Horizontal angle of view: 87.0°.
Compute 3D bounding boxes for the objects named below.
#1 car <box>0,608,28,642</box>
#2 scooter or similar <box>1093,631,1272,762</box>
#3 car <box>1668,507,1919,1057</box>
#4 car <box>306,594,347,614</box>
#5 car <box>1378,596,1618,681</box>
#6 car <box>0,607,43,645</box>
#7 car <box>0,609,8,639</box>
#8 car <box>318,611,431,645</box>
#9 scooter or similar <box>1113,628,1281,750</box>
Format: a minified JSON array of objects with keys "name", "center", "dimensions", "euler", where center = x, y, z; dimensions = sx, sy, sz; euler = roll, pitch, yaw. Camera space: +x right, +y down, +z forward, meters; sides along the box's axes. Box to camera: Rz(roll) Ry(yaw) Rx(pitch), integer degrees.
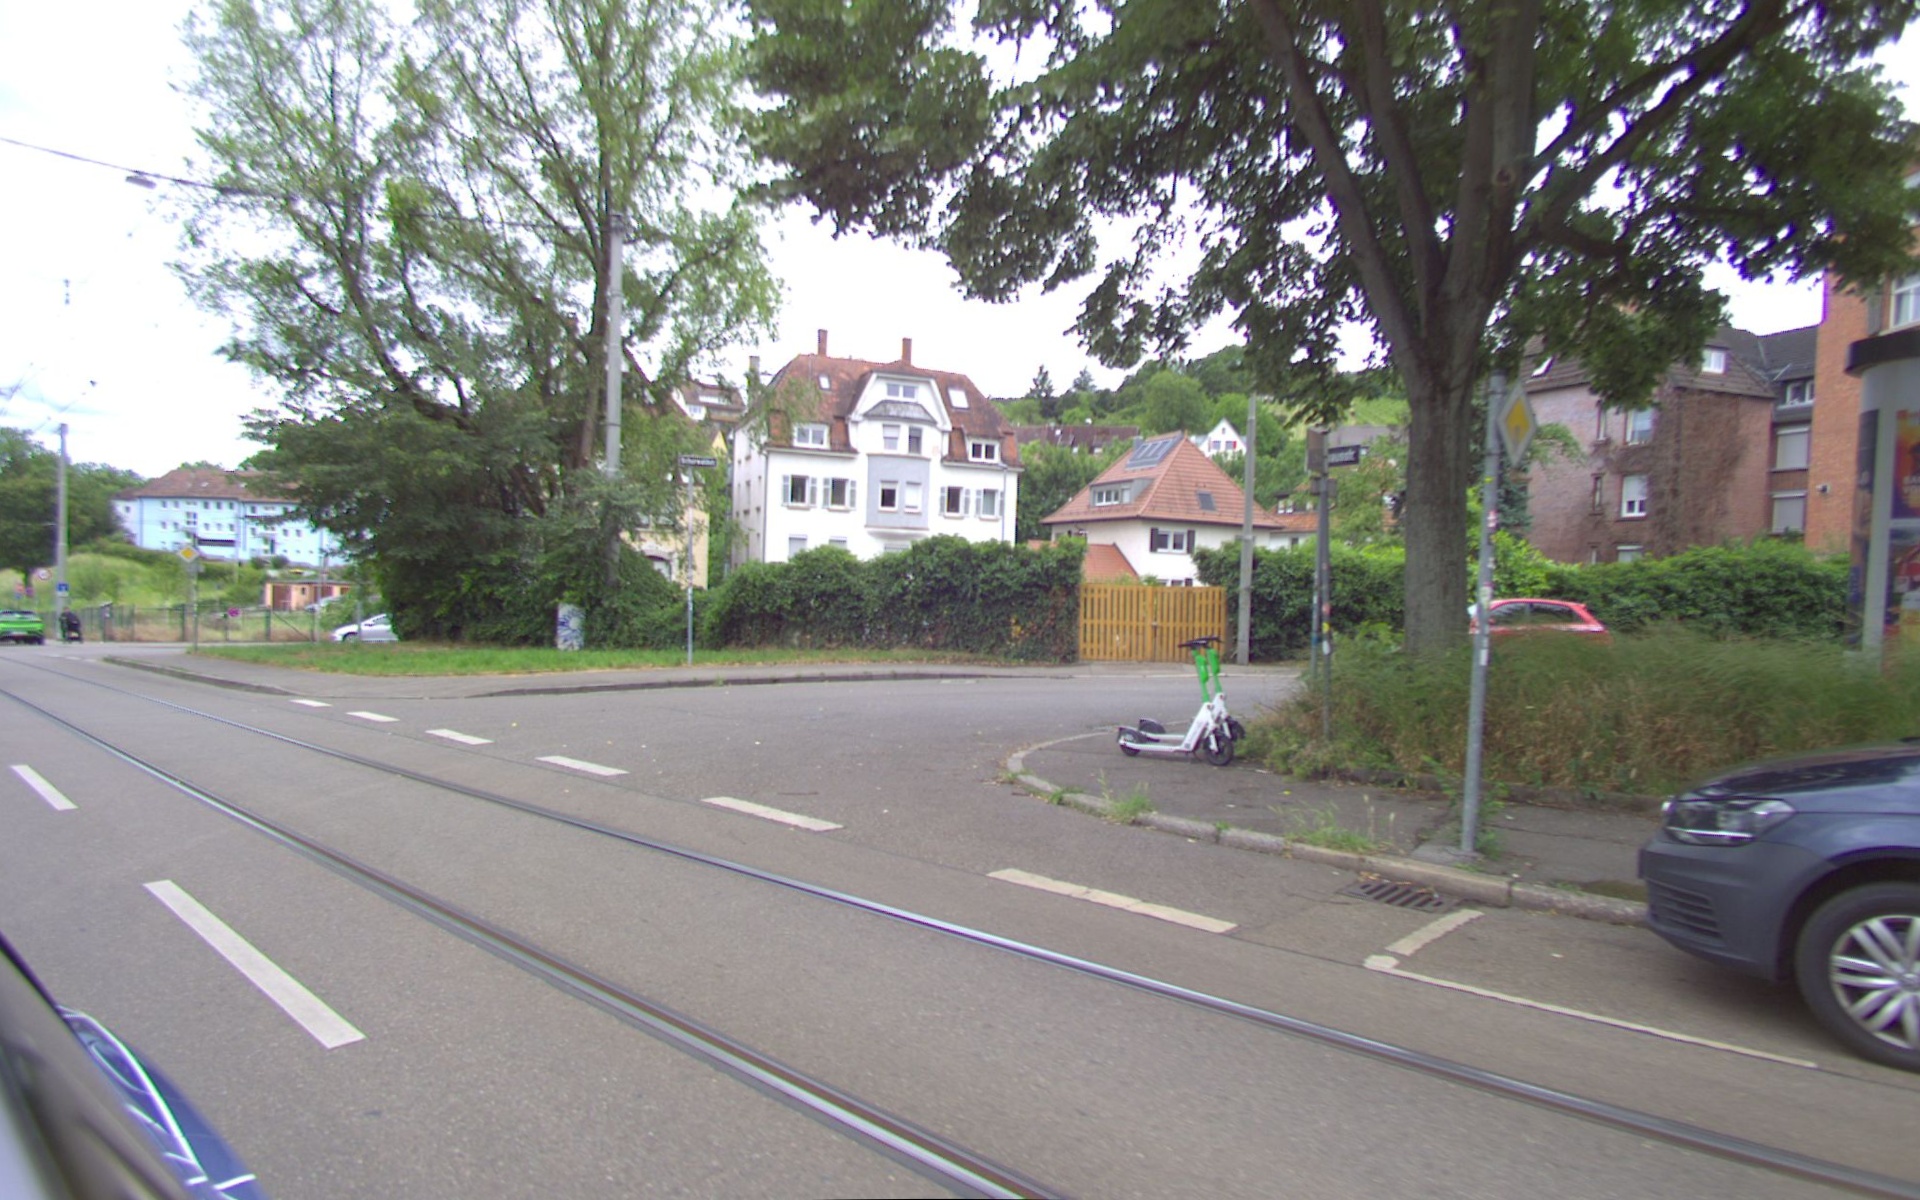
[{"name":"car","center":[-44.980,1.134,47.185],"dimensions":[3.947,1.505,1.831],"euler":[-1,-3,42]},{"name":"scooter or similar","center":[2.091,0.890,9.696],"dimensions":[1.717,1.154,0.308],"euler":[-3,-2,42]},{"name":"car","center":[4.932,0.626,2.821],"dimensions":[4.668,1.789,1.743],"euler":[-1,-4,43]},{"name":"car","center":[-61.263,0.377,97.907],"dimensions":[1.968,1.918,4.008],"euler":[0,-1,-10]},{"name":"car","center":[10.051,0.699,19.142],"dimensions":[3.568,1.489,1.747],"euler":[-1,0,5]},{"name":"car","center":[-40.668,1.110,43.201],"dimensions":[3.947,1.552,1.832],"euler":[-1,-1,42]},{"name":"car","center":[-51.228,1.215,52.838],"dimensions":[3.947,1.505,1.831],"euler":[-1,-3,42]},{"name":"car","center":[-24.456,1.181,42.444],"dimensions":[3.944,1.388,1.701],"euler":[1,-1,-24]},{"name":"scooter or similar","center":[2.393,0.885,10.385],"dimensions":[1.717,1.154,0.308],"euler":[-3,-2,42]}]
